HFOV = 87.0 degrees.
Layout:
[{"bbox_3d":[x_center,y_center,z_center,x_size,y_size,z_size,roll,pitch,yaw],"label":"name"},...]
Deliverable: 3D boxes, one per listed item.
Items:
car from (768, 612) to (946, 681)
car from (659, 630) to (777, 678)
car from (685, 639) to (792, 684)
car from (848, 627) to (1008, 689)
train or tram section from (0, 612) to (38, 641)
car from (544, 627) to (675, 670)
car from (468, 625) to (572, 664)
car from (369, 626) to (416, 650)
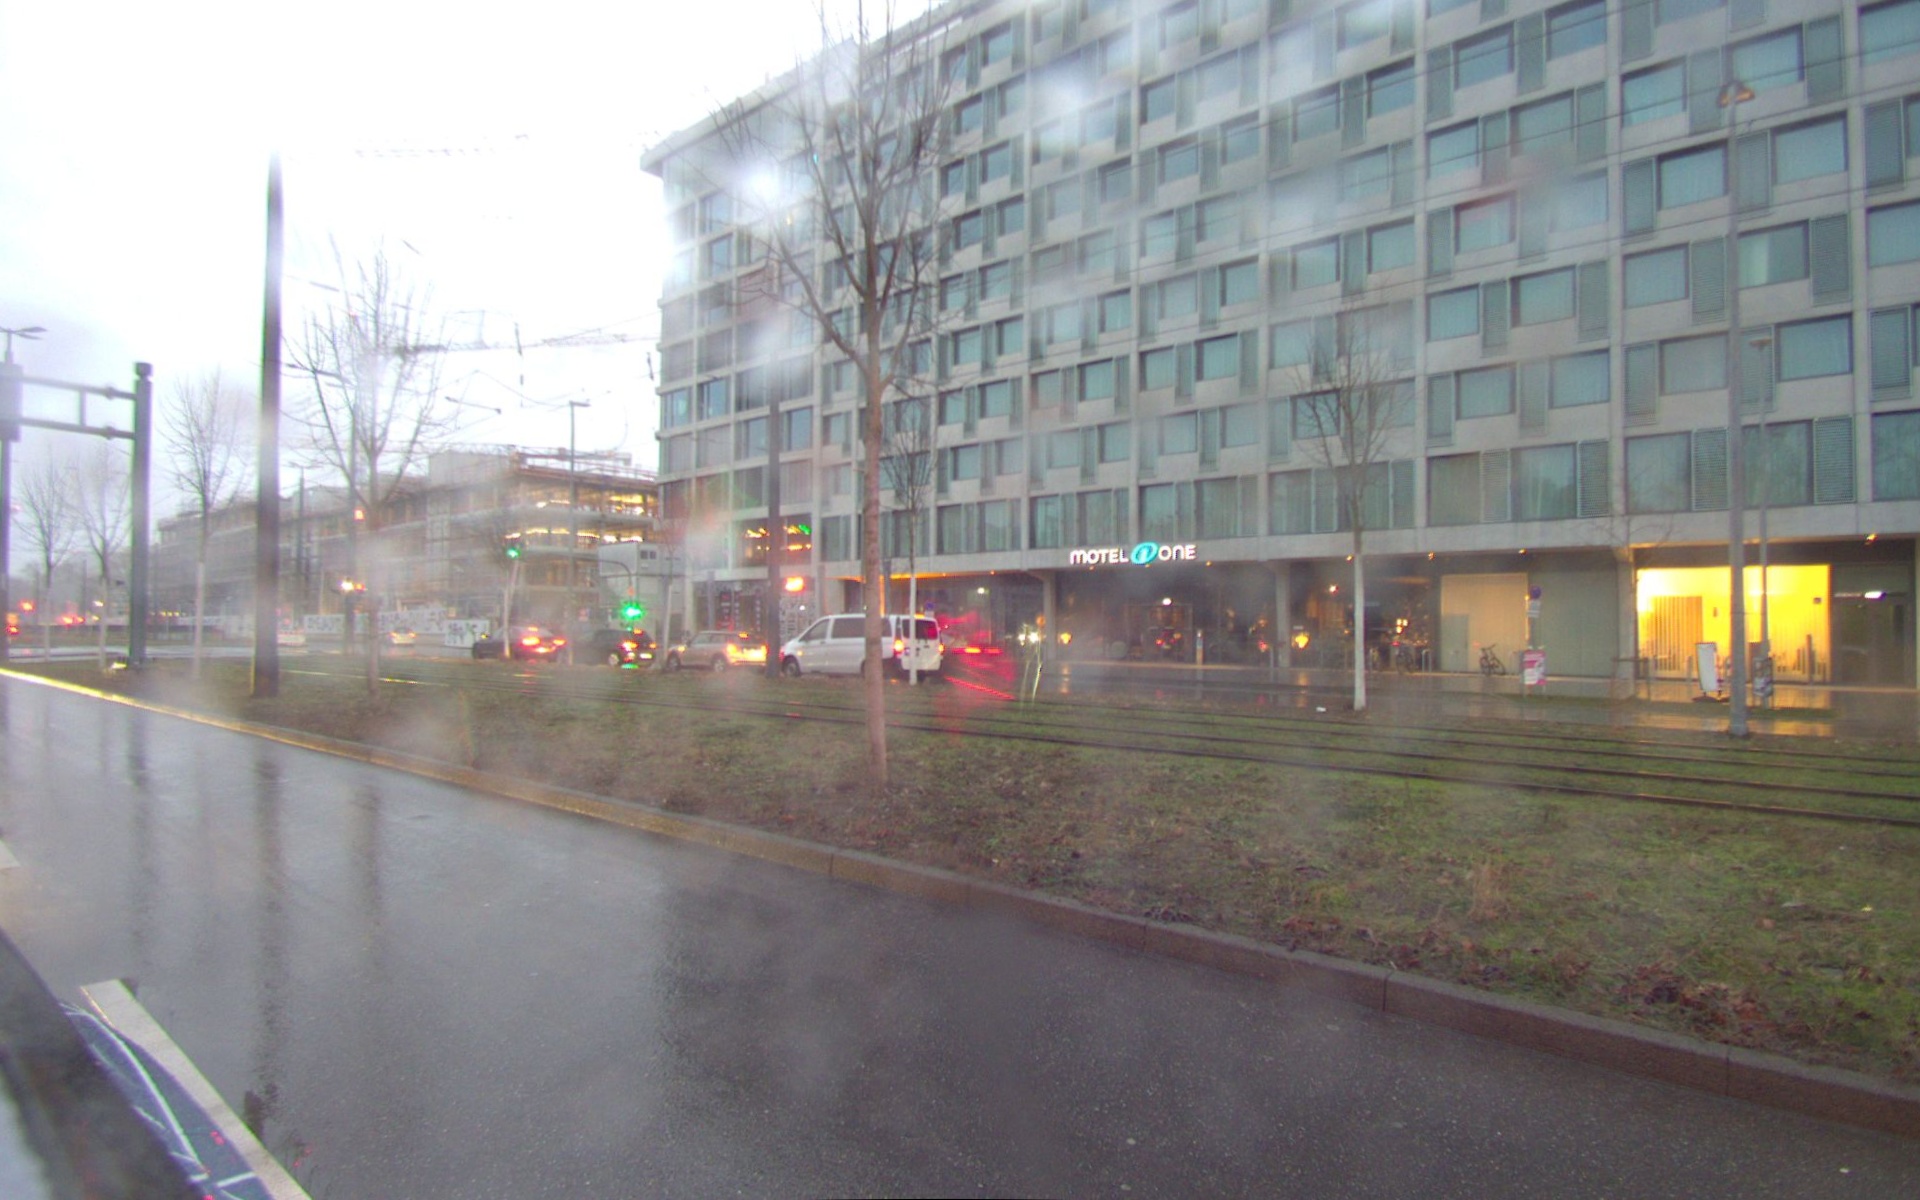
[{"bbox_3d":[-2.892,1.230,27.595,5.116,1.732,1.875,-2,-3,42],"label":"car"},{"bbox_3d":[-7.766,1.682,32.402,3.704,1.442,1.876,-1,-3,41],"label":"car"},{"bbox_3d":[-9.323,2.522,42.338,4.915,1.732,1.876,-2,-2,42],"label":"car"},{"bbox_3d":[-1.046,1.689,30.753,4.914,1.732,1.876,-1,-2,41],"label":"car"},{"bbox_3d":[-121.140,3.377,129.609,14.261,3.513,2.925,-2,-3,42],"label":"train or tram section"},{"bbox_3d":[-12.765,1.733,36.877,4.425,1.508,1.983,-1,-2,26],"label":"car"},{"bbox_3d":[-17.988,1.781,41.239,5.032,1.479,1.972,-2,-3,42],"label":"car"},{"bbox_3d":[-42.732,2.833,76.115,1.874,1.732,4.920,2,-2,-44],"label":"car"}]
